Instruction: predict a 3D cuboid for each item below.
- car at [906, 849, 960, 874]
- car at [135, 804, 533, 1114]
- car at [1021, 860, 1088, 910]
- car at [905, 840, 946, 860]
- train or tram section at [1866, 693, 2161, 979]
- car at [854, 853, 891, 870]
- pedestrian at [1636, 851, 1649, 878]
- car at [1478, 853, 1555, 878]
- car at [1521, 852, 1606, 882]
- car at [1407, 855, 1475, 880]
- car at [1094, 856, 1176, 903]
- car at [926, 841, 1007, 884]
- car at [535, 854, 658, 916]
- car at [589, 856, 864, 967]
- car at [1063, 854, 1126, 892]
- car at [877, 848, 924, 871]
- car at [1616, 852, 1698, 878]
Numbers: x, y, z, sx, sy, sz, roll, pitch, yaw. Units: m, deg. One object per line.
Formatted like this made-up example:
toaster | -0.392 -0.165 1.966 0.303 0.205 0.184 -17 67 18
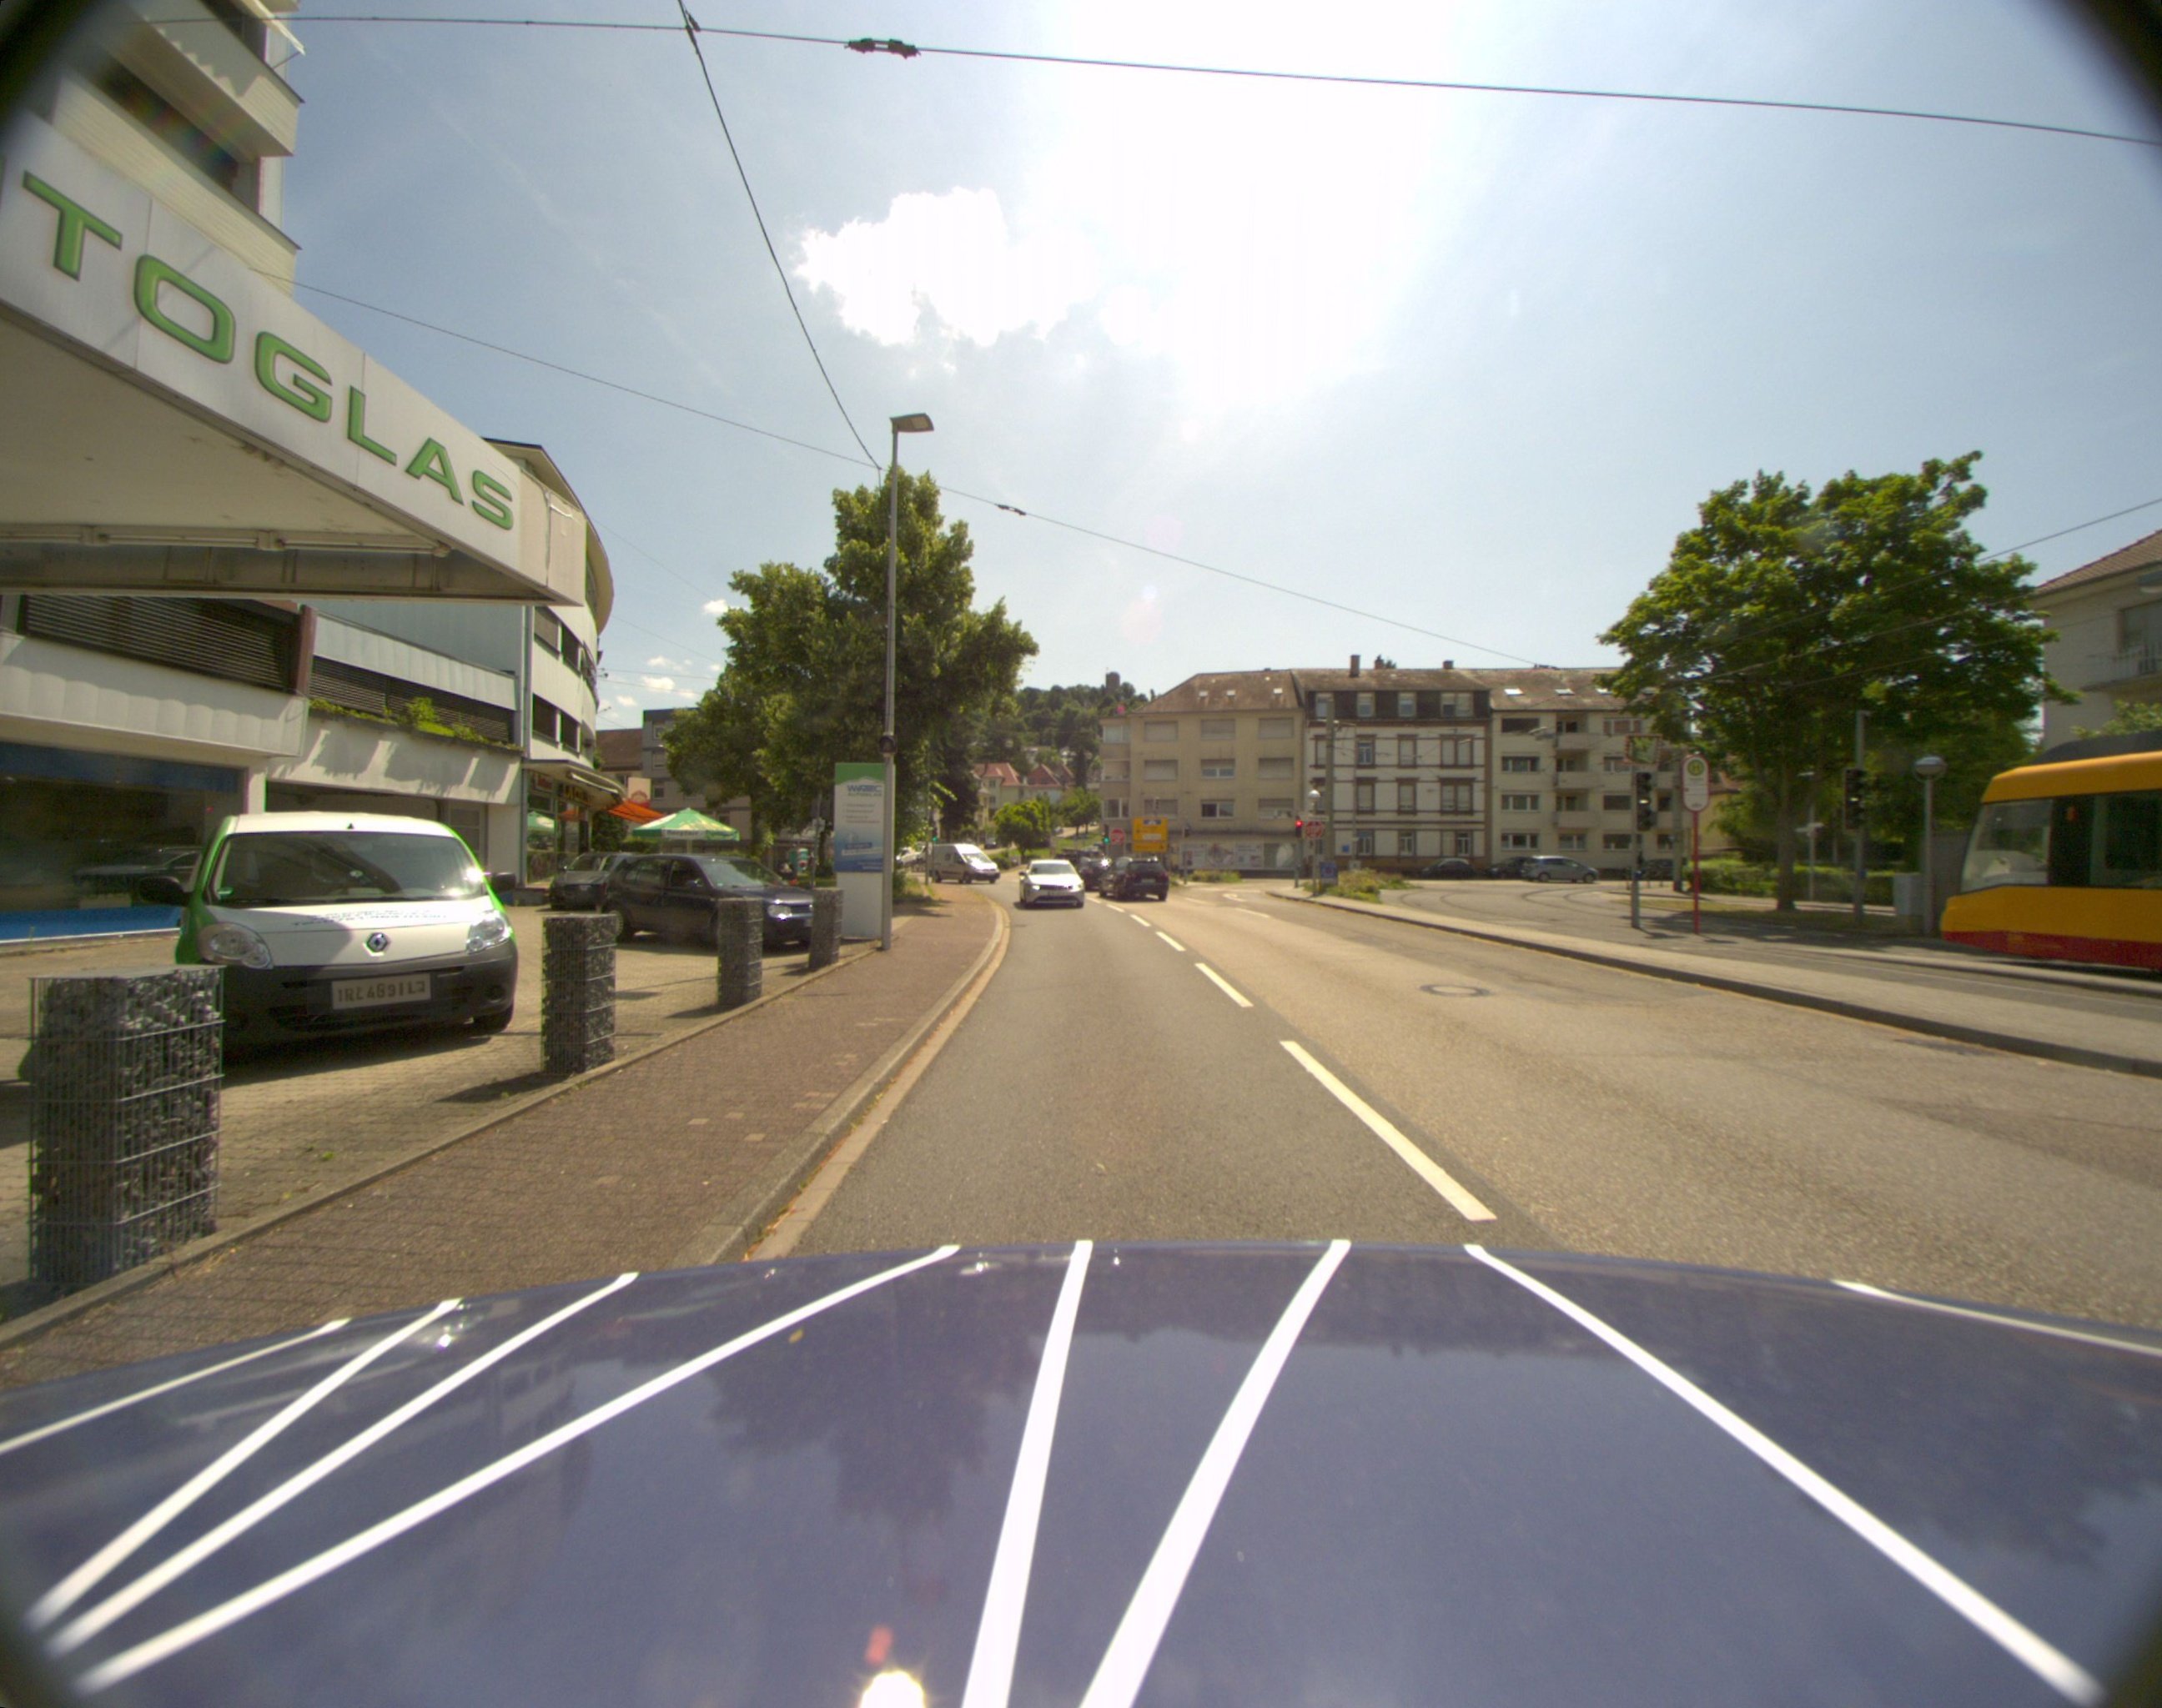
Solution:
car | -13.211 0.584 68.211 2.398 2.002 6.378 -1 1 12
car | -6.418 0.601 6.412 4.277 1.779 1.827 -1 1 40
car | -0.947 0.922 24.239 1.819 1.371 4.389 -1 0 -6
car | -16.819 -0.463 82.721 2.398 2.002 5.385 -1 1 12
train or tram section | 14.592 -0.256 6.337 2.971 3.474 12.712 -2 0 0
car | -19.256 0.664 70.432 1.530 1.361 4.159 -1 1 12
pedestrian | 39.098 0.723 52.902 0.556 1.846 0.428 -2 2 3
car | 29.608 0.770 51.734 4.066 1.576 2.000 -2 1 3
car | 29.199 0.780 46.077 3.994 1.609 1.761 -1 1 9
car | 24.716 0.904 52.265 3.755 1.576 2.000 -2 1 3
car | 1.855 0.840 27.639 1.842 1.482 4.807 0 1 -10
car | -6.575 0.454 43.127 2.004 2.258 5.429 -3 1 -39
car | -12.523 0.722 19.922 1.715 1.392 4.276 -1 1 -19
car | -5.556 0.782 11.891 3.963 1.420 1.703 1 0 24
car | 0.540 0.792 33.775 1.842 1.482 4.122 -2 1 -13
car | -18.038 0.517 76.186 2.398 2.002 5.385 -1 1 12
car | 38.720 0.738 51.121 4.066 1.576 1.814 -2 1 3
